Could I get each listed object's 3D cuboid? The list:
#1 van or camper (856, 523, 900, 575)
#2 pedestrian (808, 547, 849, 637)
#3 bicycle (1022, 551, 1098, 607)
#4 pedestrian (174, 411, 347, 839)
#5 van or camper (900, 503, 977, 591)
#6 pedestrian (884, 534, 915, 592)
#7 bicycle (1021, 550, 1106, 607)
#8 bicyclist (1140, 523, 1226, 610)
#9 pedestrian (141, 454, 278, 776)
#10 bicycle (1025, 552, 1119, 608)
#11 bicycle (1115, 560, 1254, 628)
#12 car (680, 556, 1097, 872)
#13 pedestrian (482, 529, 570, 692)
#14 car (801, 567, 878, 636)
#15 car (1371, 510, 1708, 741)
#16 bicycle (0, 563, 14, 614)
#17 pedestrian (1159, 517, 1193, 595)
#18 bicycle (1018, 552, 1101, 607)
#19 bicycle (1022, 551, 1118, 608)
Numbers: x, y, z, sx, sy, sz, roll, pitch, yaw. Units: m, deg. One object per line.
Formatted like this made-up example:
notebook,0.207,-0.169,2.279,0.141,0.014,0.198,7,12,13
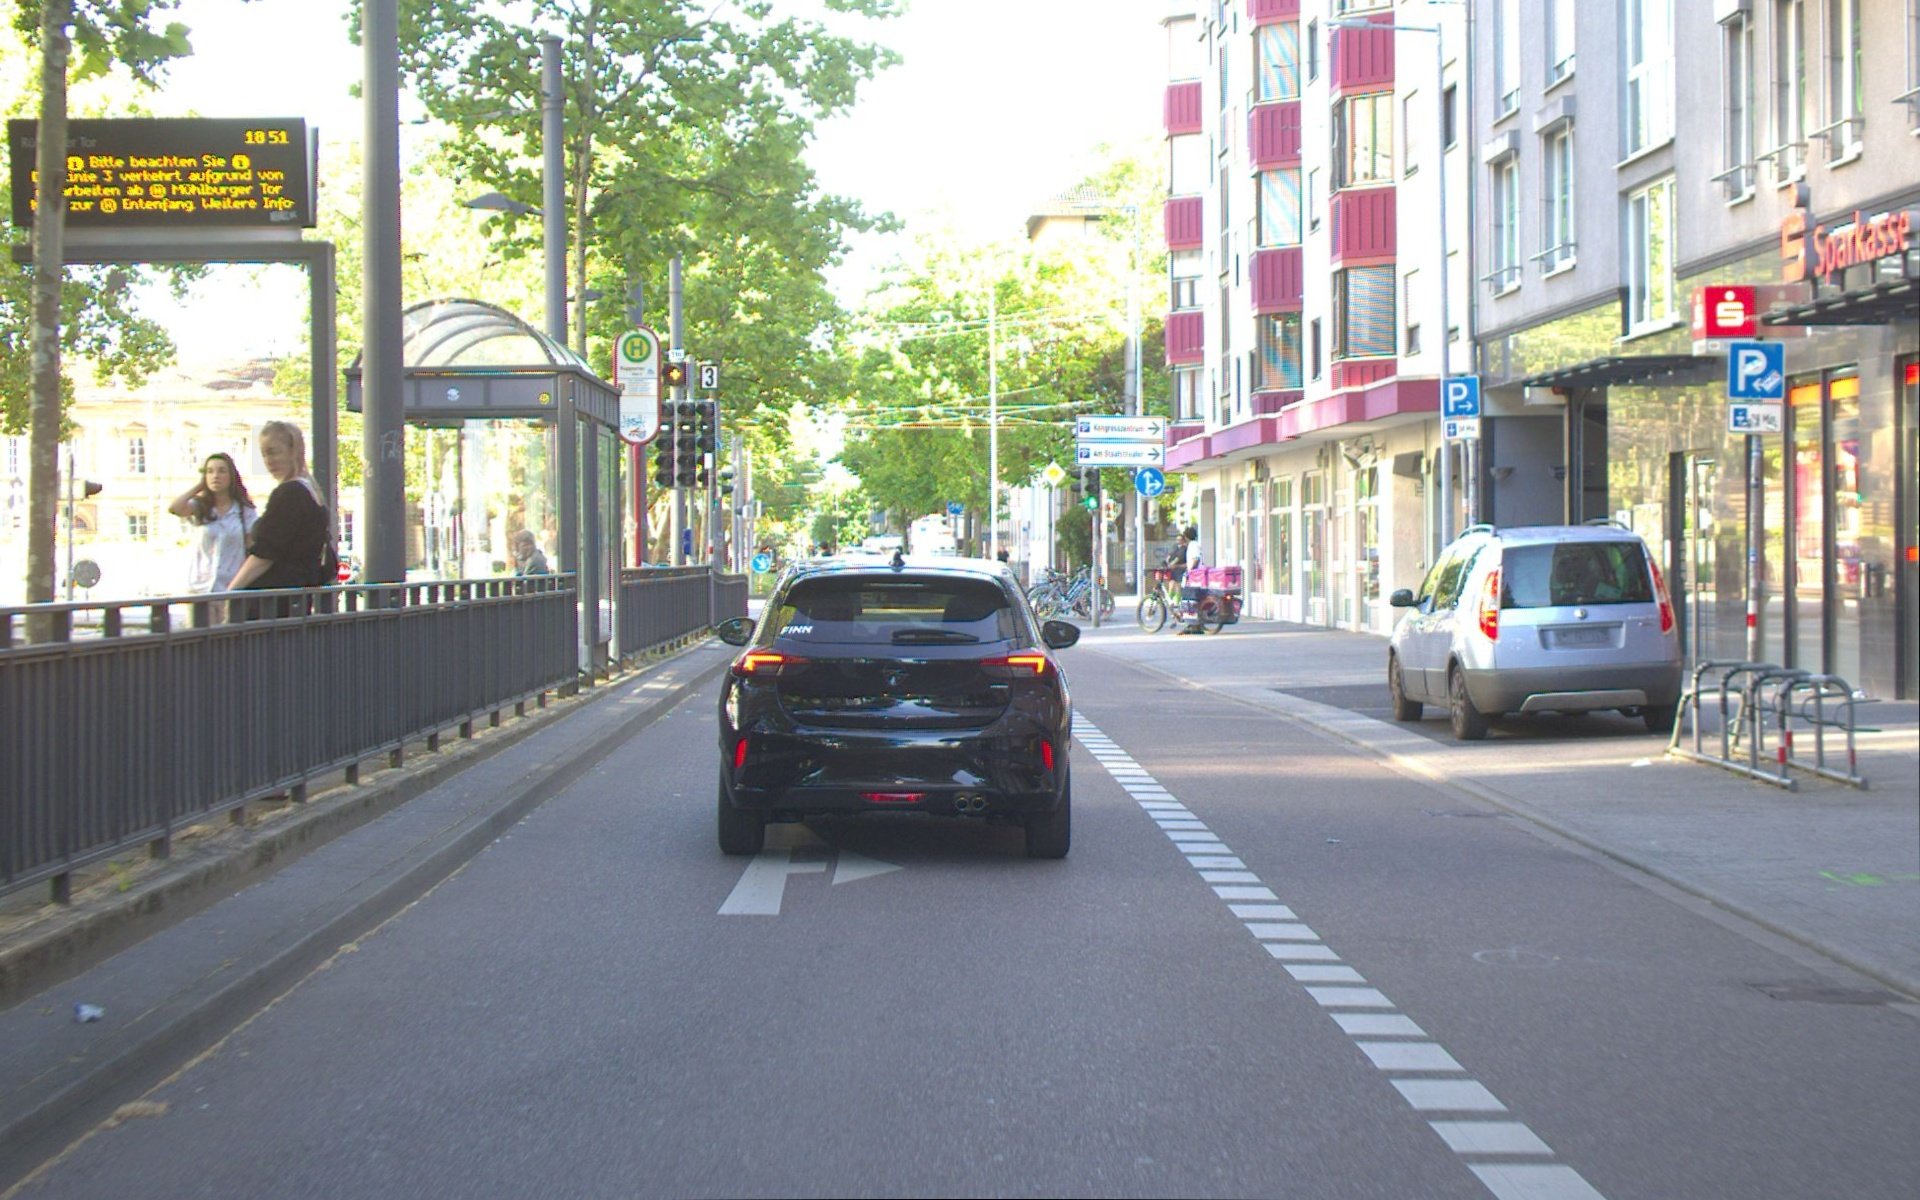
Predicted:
van or camper,-4.851,-3.014,203.350,2.486,2.983,5.434,2,1,-1
pedestrian,-2.594,-0.162,67.827,0.734,1.741,0.712,0,1,3
bicycle,2.169,-0.462,74.636,1.623,1.195,0.496,0,1,3
pedestrian,-3.133,0.103,15.437,0.646,1.880,0.661,0,1,-1
van or camper,-0.852,-1.994,129.677,2.375,3.114,7.552,-3,1,-3
pedestrian,-2.113,-1.285,120.598,1.036,2.017,1.212,0,1,-3
bicycle,2.234,-0.473,74.066,1.831,1.216,0.496,0,1,2
bicyclist,3.956,-0.599,60.996,1.057,1.534,1.079,-1,1,-39
pedestrian,-4.428,0.081,20.314,0.645,1.865,0.753,0,1,-1
bicycle,2.363,-0.425,72.563,1.939,1.166,0.572,0,1,-4
bicycle,3.966,-0.121,60.981,0.960,1.179,2.597,-1,1,-39
car,-0.365,0.496,17.834,1.905,1.420,4.216,0,1,-1
pedestrian,-3.531,0.078,28.028,0.626,1.315,0.801,0,1,-1
car,-3.062,0.029,88.066,1.832,1.617,4.285,2,1,-1
car,4.527,0.154,27.477,1.832,1.617,4.285,-3,1,-1
bicycle,-18.167,-0.209,63.477,0.813,0.943,1.725,0,1,4
pedestrian,5.146,-1.049,81.849,0.722,1.851,0.801,0,1,-2
bicycle,2.177,-0.450,75.382,1.802,1.195,0.545,0,0,3
bicycle,2.348,-0.438,73.221,1.976,1.195,0.591,0,1,-6
